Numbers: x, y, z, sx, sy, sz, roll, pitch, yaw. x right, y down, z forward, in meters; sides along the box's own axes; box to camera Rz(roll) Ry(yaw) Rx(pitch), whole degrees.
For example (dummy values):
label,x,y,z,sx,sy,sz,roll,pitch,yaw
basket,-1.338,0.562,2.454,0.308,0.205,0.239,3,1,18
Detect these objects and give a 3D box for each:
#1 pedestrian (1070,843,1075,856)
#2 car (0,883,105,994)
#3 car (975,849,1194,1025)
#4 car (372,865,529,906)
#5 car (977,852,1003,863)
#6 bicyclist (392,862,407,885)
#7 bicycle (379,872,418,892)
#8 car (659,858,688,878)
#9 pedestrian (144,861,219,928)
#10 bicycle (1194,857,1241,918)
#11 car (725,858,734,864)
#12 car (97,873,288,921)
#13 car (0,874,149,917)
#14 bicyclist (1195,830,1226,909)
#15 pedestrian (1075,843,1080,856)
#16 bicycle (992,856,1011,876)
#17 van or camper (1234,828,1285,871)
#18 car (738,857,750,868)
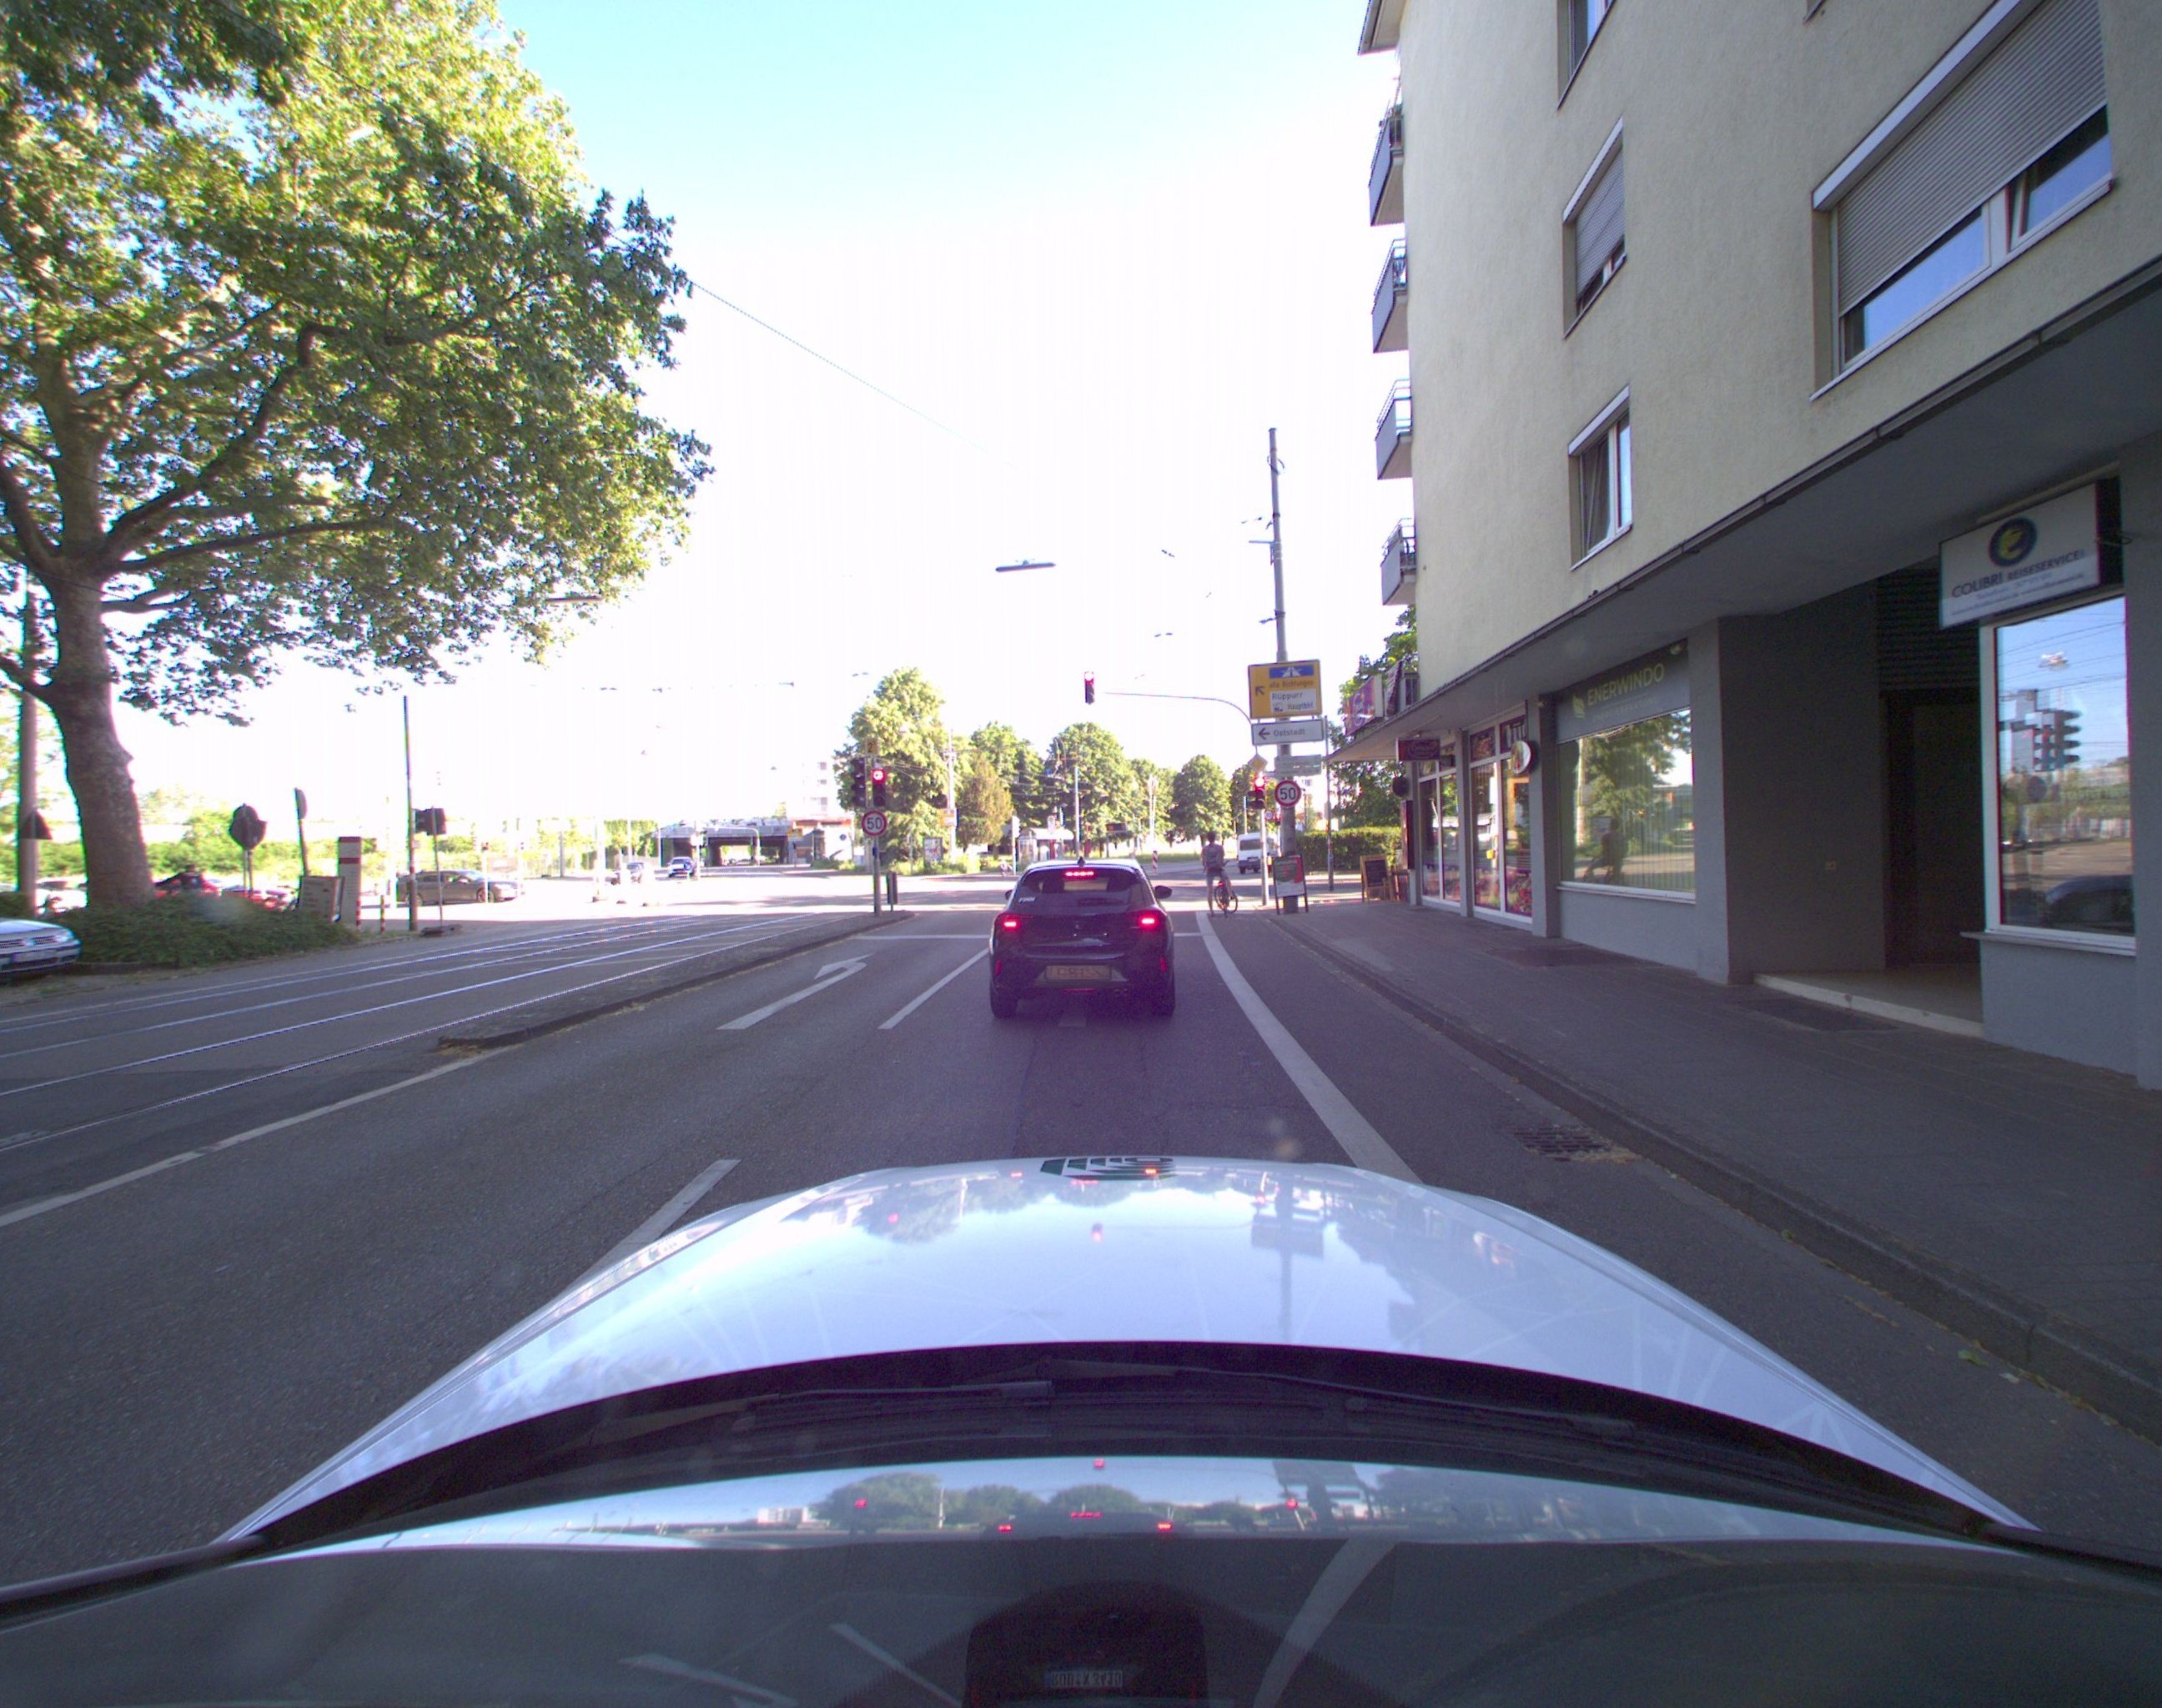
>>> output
label,x,y,z,sx,sy,sz,roll,pitch,yaw
pedestrian,-1.198,-0.642,116.807,0.602,1.872,0.519,0,-1,-4
car,-16.630,1.192,11.349,3.957,1.453,1.670,-1,0,-1
car,0.092,0.698,8.937,1.833,1.462,3.985,-1,0,2
car,-25.794,1.268,33.488,4.723,1.473,1.934,-1,0,-9
car,-13.277,0.464,118.754,3.549,1.569,1.535,0,-1,-22
bicyclist,-37.106,1.074,44.338,0.533,1.222,0.521,-1,0,-44
bicycle,-37.118,1.508,44.305,1.586,0.982,0.521,-2,0,-45
car,-34.792,1.180,69.644,1.892,1.585,3.809,0,-1,-21
pedestrian,-22.661,1.010,20.543,0.842,1.647,0.931,0,-1,1
bicycle,3.031,0.711,17.984,0.747,1.235,2.024,-2,0,16
car,-84.324,1.643,195.333,1.587,1.260,3.397,-2,0,-28
car,-34.117,1.597,31.459,4.497,1.565,2.007,-1,0,-24
car,-40.538,1.617,32.299,4.204,1.552,1.980,0,-1,-26
bicyclist,2.840,0.327,17.859,0.529,1.692,0.571,-2,0,19
pedestrian,-0.534,-0.650,116.409,0.602,1.872,0.519,0,-1,-4
bicycle,-4.583,0.698,46.913,0.793,1.064,2.186,-2,0,2
van or camper,10.179,-0.225,46.190,2.011,2.310,4.565,-1,-1,23
car,-54.302,1.405,131.201,1.761,1.684,3.713,0,-1,-22
